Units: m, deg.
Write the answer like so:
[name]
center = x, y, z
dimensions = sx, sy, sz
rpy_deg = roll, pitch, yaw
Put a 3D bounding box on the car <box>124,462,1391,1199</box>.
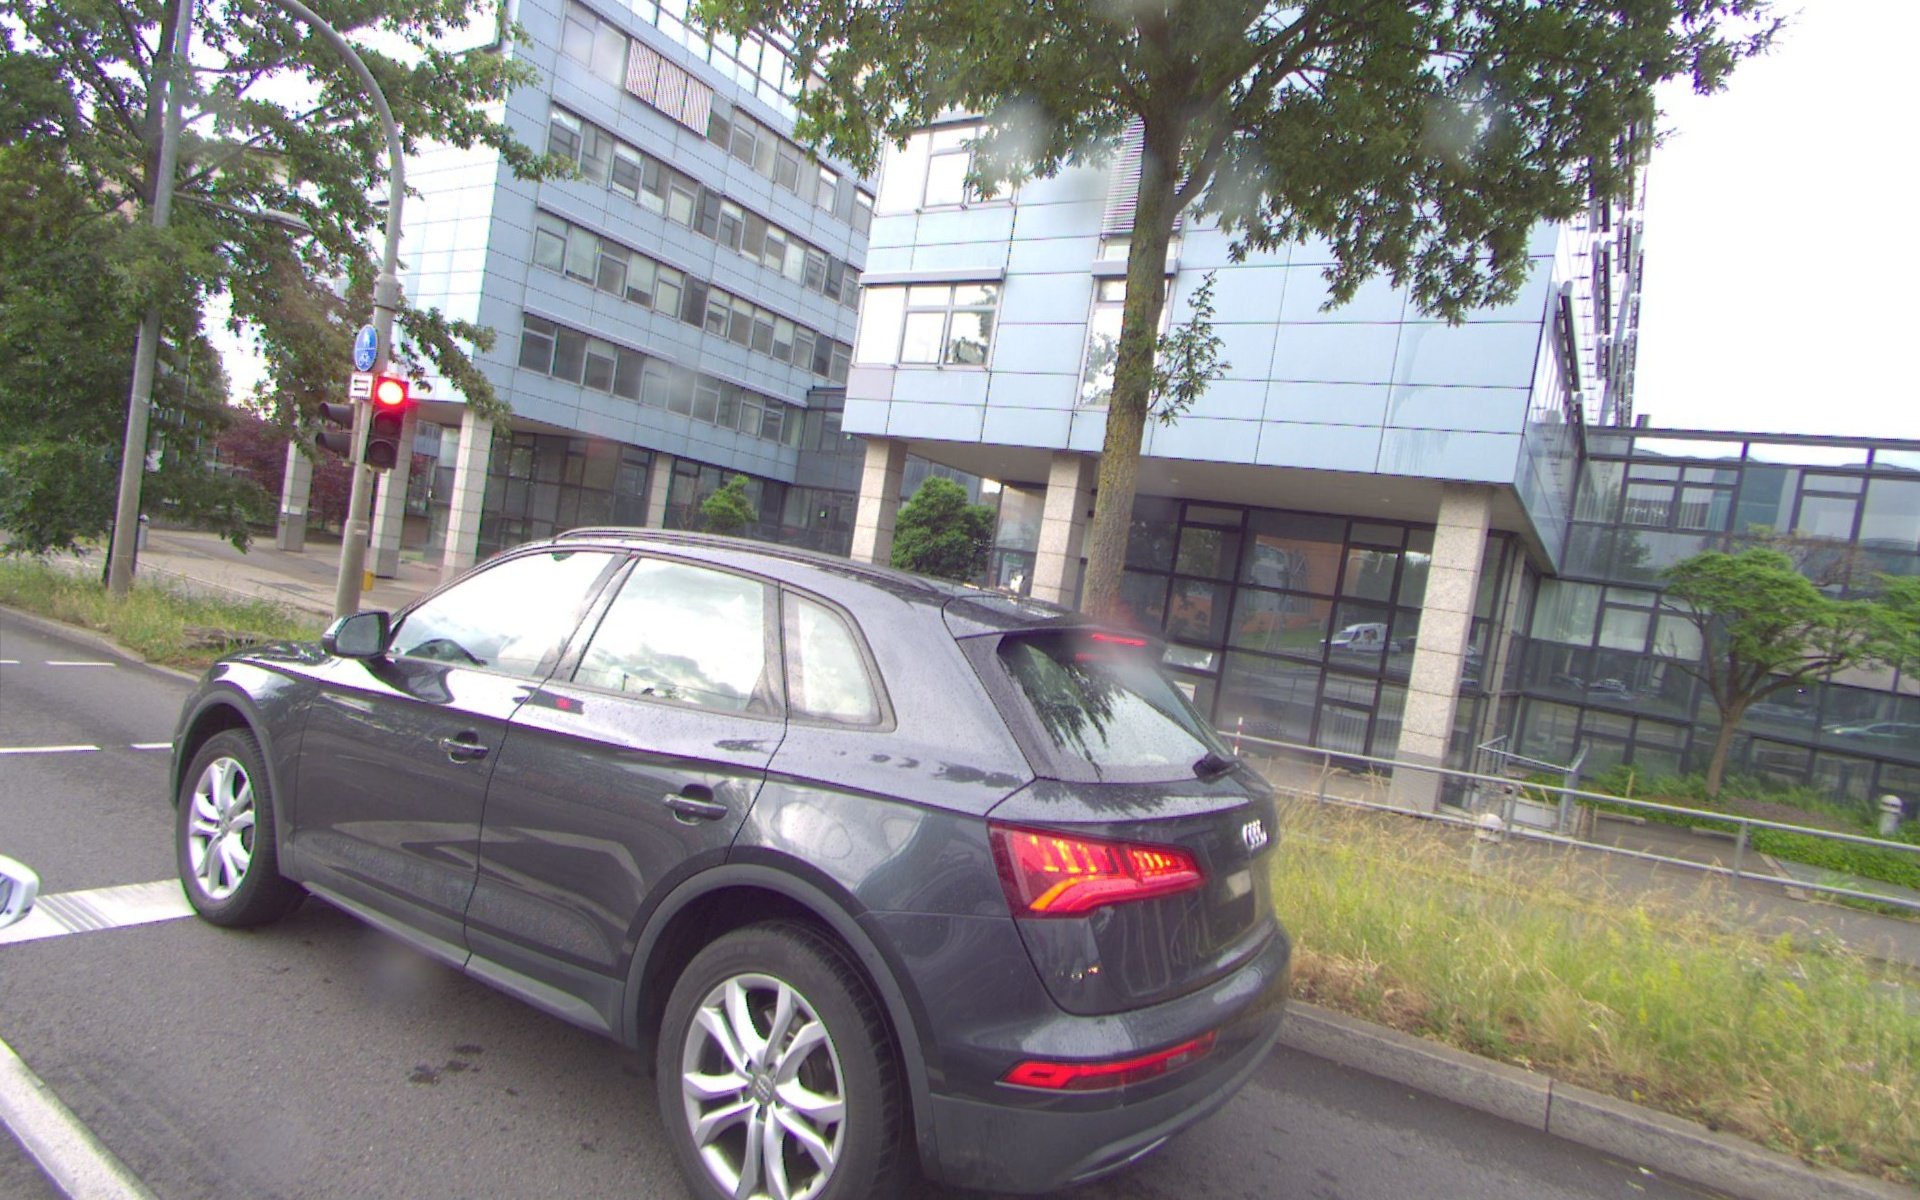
[car]
center = -0.986, 0.558, 3.724
dimensions = 4.396, 1.632, 1.821
rpy_deg = 7, -1, 32
